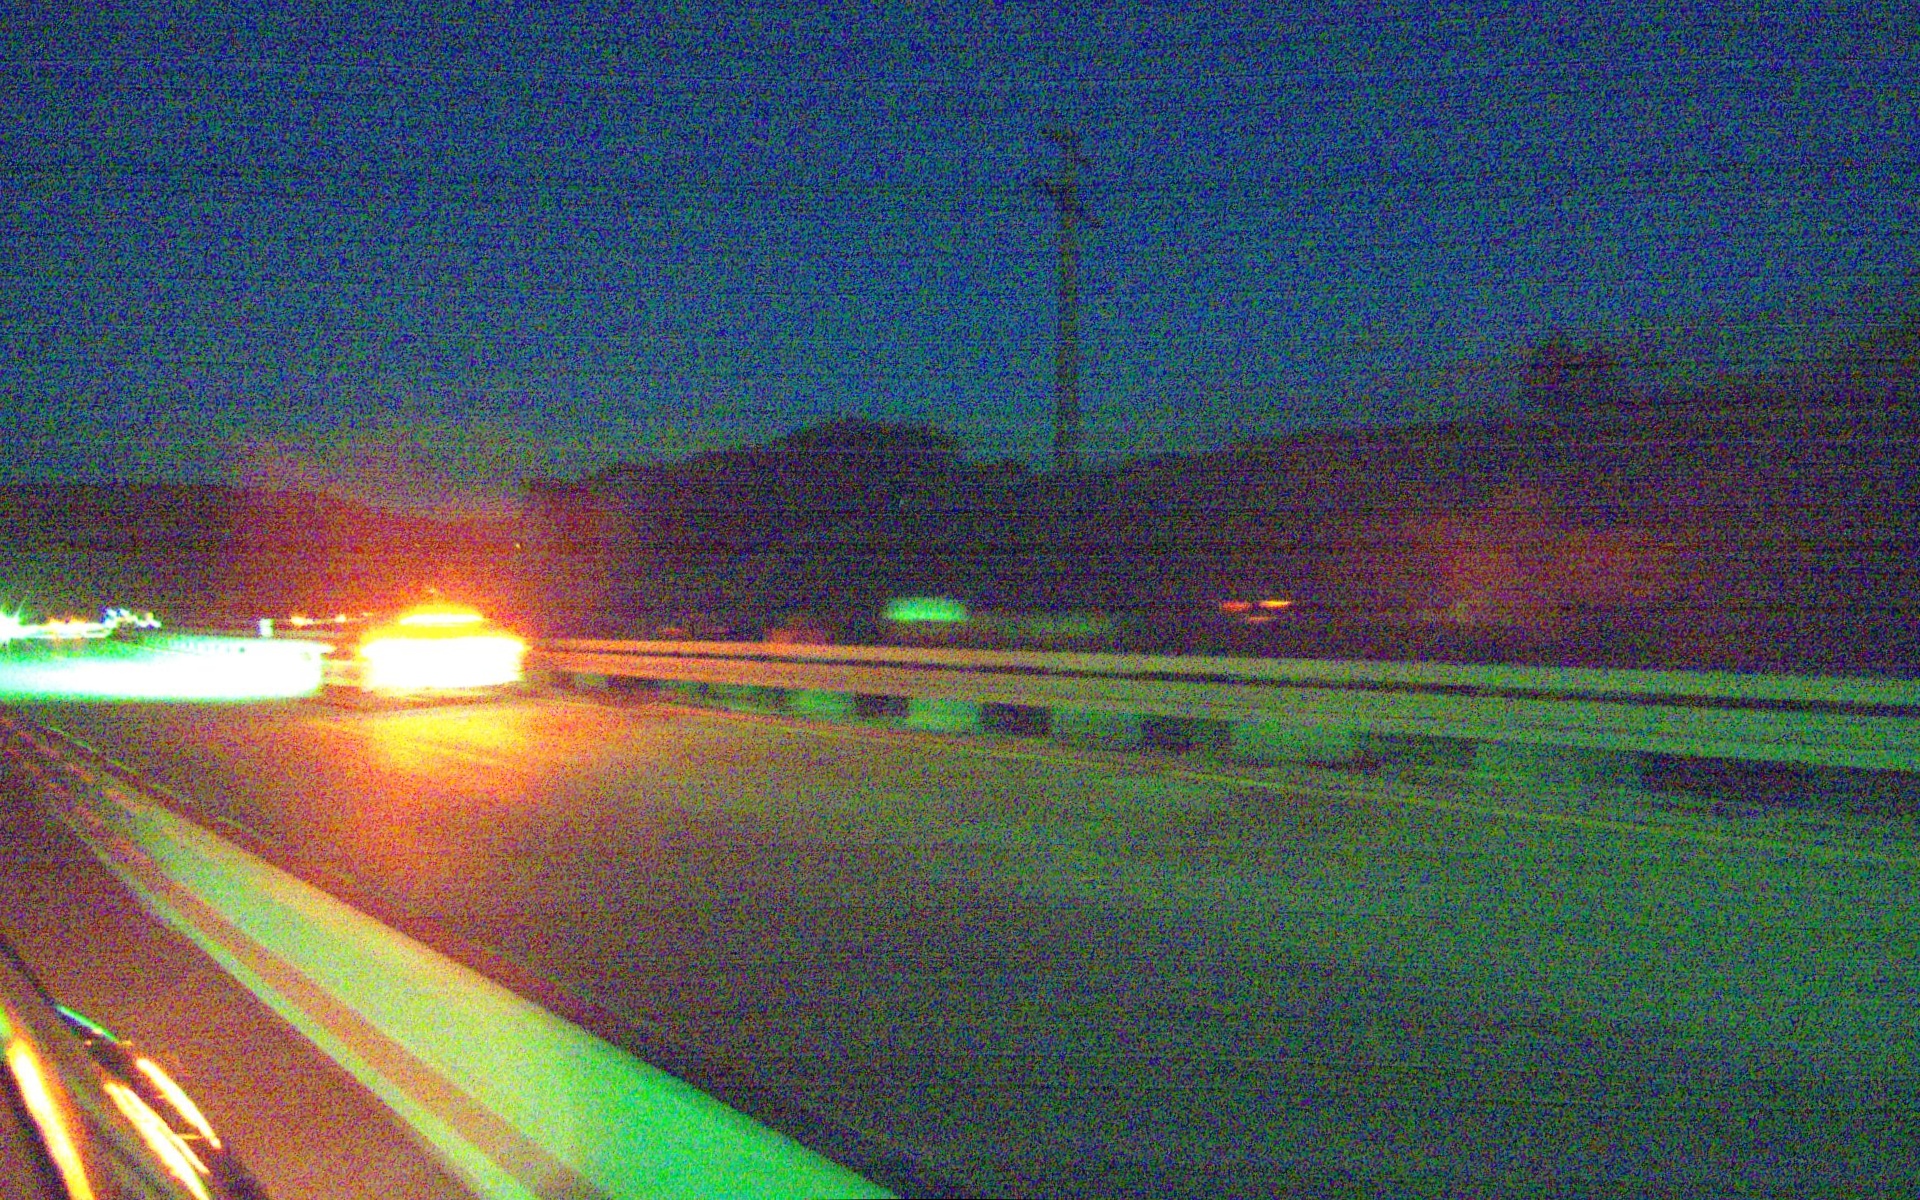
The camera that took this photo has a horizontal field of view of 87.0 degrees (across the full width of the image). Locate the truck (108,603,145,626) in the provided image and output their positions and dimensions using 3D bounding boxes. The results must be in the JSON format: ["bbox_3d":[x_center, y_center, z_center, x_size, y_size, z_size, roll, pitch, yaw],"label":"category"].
[{"bbox_3d":[-166.679,2.866,202.512,2.923,4.307,17.197,1,-1,-30],"label":"truck"}]

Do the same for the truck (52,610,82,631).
[{"bbox_3d":[-67.787,1.511,76.884,1.662,1.481,4.159,-1,1,-41],"label":"truck"}]

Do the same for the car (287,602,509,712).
[{"bbox_3d":[-8.944,0.783,15.929,4.486,1.454,1.694,0,1,42],"label":"car"}]

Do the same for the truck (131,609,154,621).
[{"bbox_3d":[-159.824,2.959,197.933,2.387,2.443,7.113,1,-2,-30],"label":"truck"}]

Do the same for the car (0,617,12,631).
[{"bbox_3d":[-109.396,2.695,115.134,1.784,1.529,3.944,2,-3,-36],"label":"car"}]
